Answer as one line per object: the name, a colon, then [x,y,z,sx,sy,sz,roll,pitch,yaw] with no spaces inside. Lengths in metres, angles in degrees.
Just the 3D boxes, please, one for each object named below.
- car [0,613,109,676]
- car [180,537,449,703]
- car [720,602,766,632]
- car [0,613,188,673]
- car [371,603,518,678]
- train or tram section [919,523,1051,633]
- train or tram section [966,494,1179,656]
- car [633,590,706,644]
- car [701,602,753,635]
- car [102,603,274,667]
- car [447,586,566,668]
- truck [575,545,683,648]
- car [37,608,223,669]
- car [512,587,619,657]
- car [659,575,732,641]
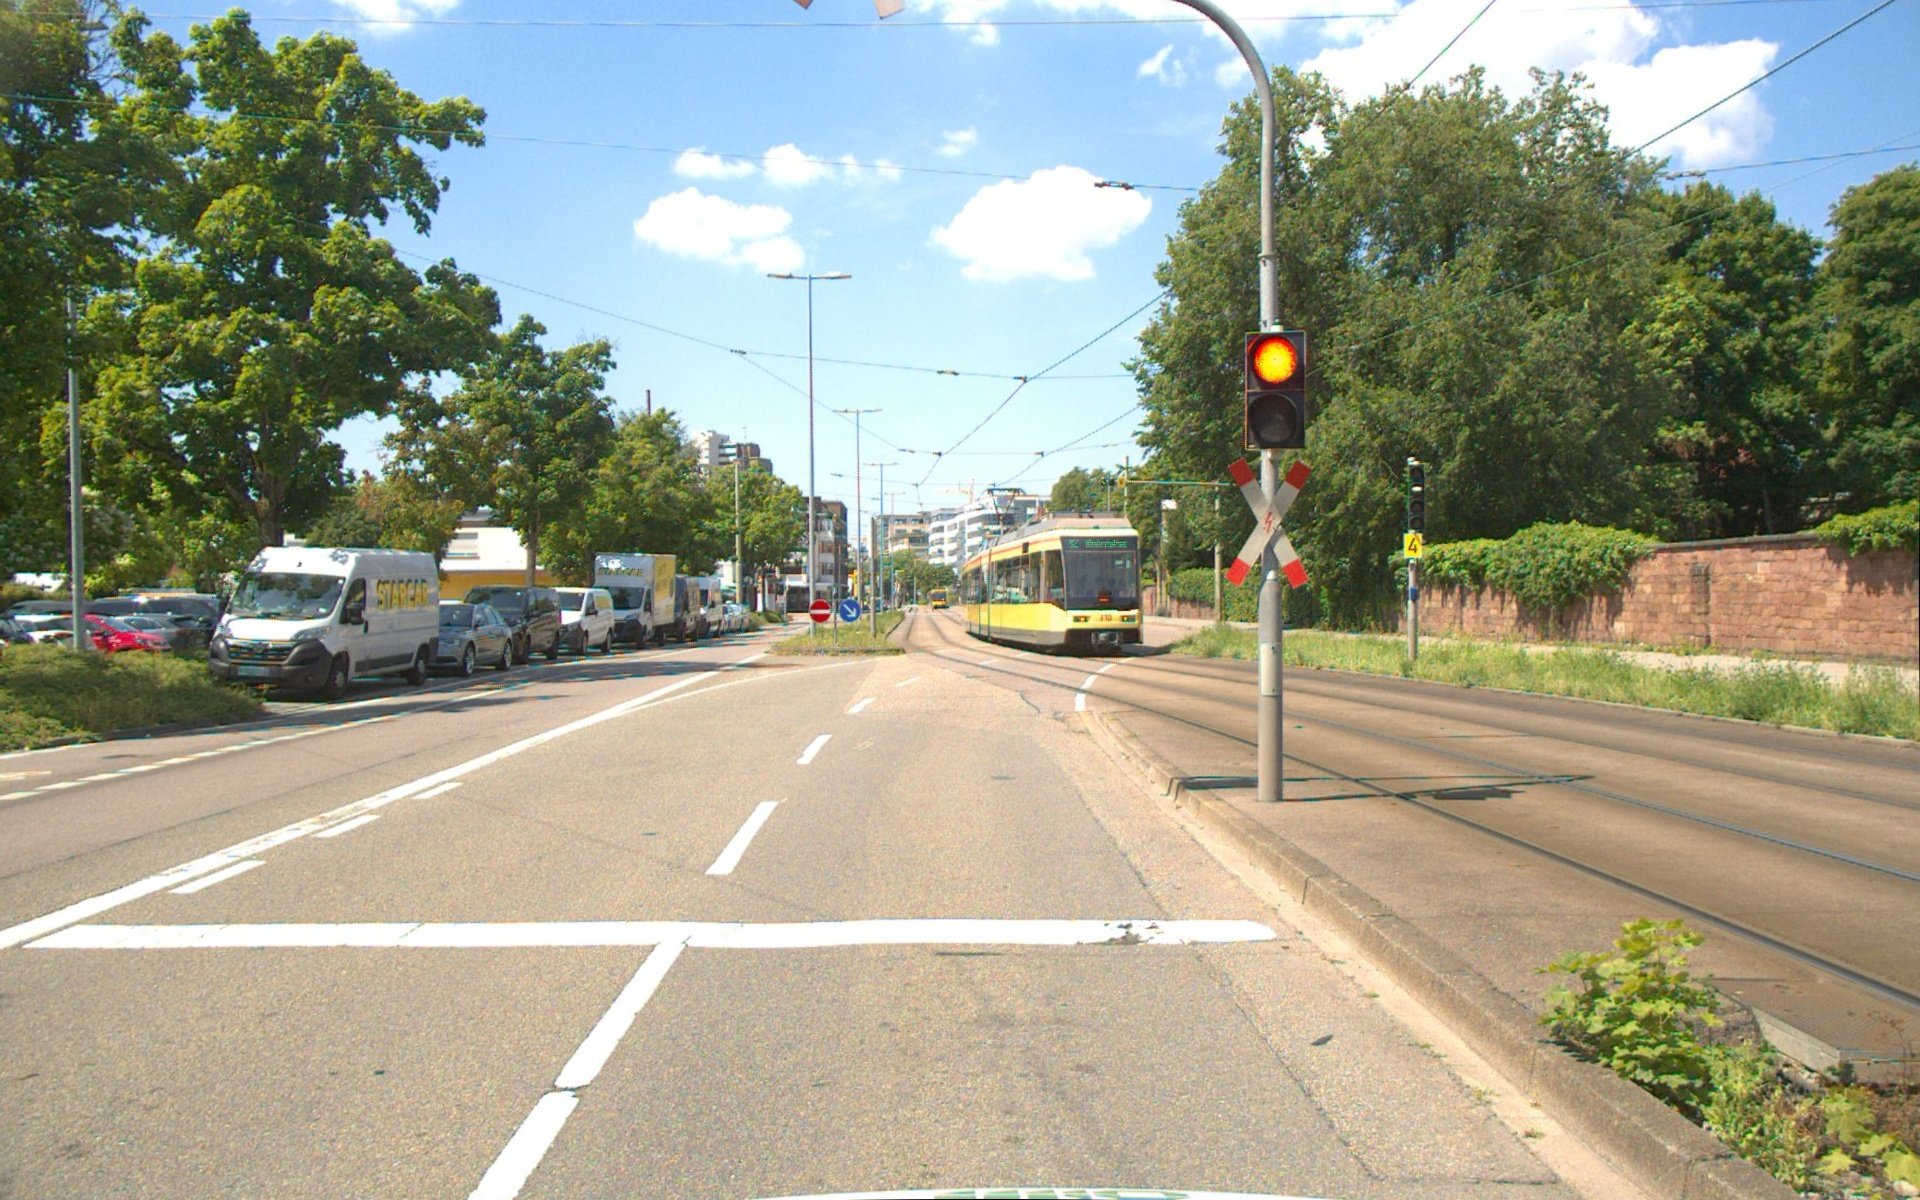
car: [-22.078,1.026,38.148,3.907,1.362,1.804,-1,0,-3]
car: [-11.086,0.297,29.046,2.112,2.530,6.193,2,0,1]
car: [-12.244,0.953,93.568,2.019,1.609,4.870,-1,0,-1]
car: [-21.422,1.046,40.752,3.907,1.362,1.804,-1,0,-3]
car: [-10.974,0.819,35.514,1.830,1.462,4.342,-1,0,-1]
train or tram section: [0.629,-0.818,66.923,2.887,3.756,20.256,0,0,-6]
train or tram section: [2.679,-0.647,47.730,2.887,3.756,18.363,0,0,-6]
car: [-11.321,0.623,64.721,2.019,2.011,4.870,-1,0,-1]
car: [-12.145,0.922,86.467,2.019,1.609,4.870,-1,0,-1]
car: [-21.464,0.958,46.083,3.907,1.634,1.804,-1,0,-3]
car: [-11.379,0.635,41.793,1.830,1.928,4.270,-1,0,-1]
truck: [-11.353,-0.144,57.329,2.112,3.266,7.083,2,0,1]
car: [-21.685,0.995,43.307,3.907,1.467,1.804,-1,0,-2]
car: [-11.544,0.607,48.749,2.019,1.931,4.870,-1,0,-1]
car: [-11.530,0.321,72.507,2.112,2.685,5.612,2,0,1]
